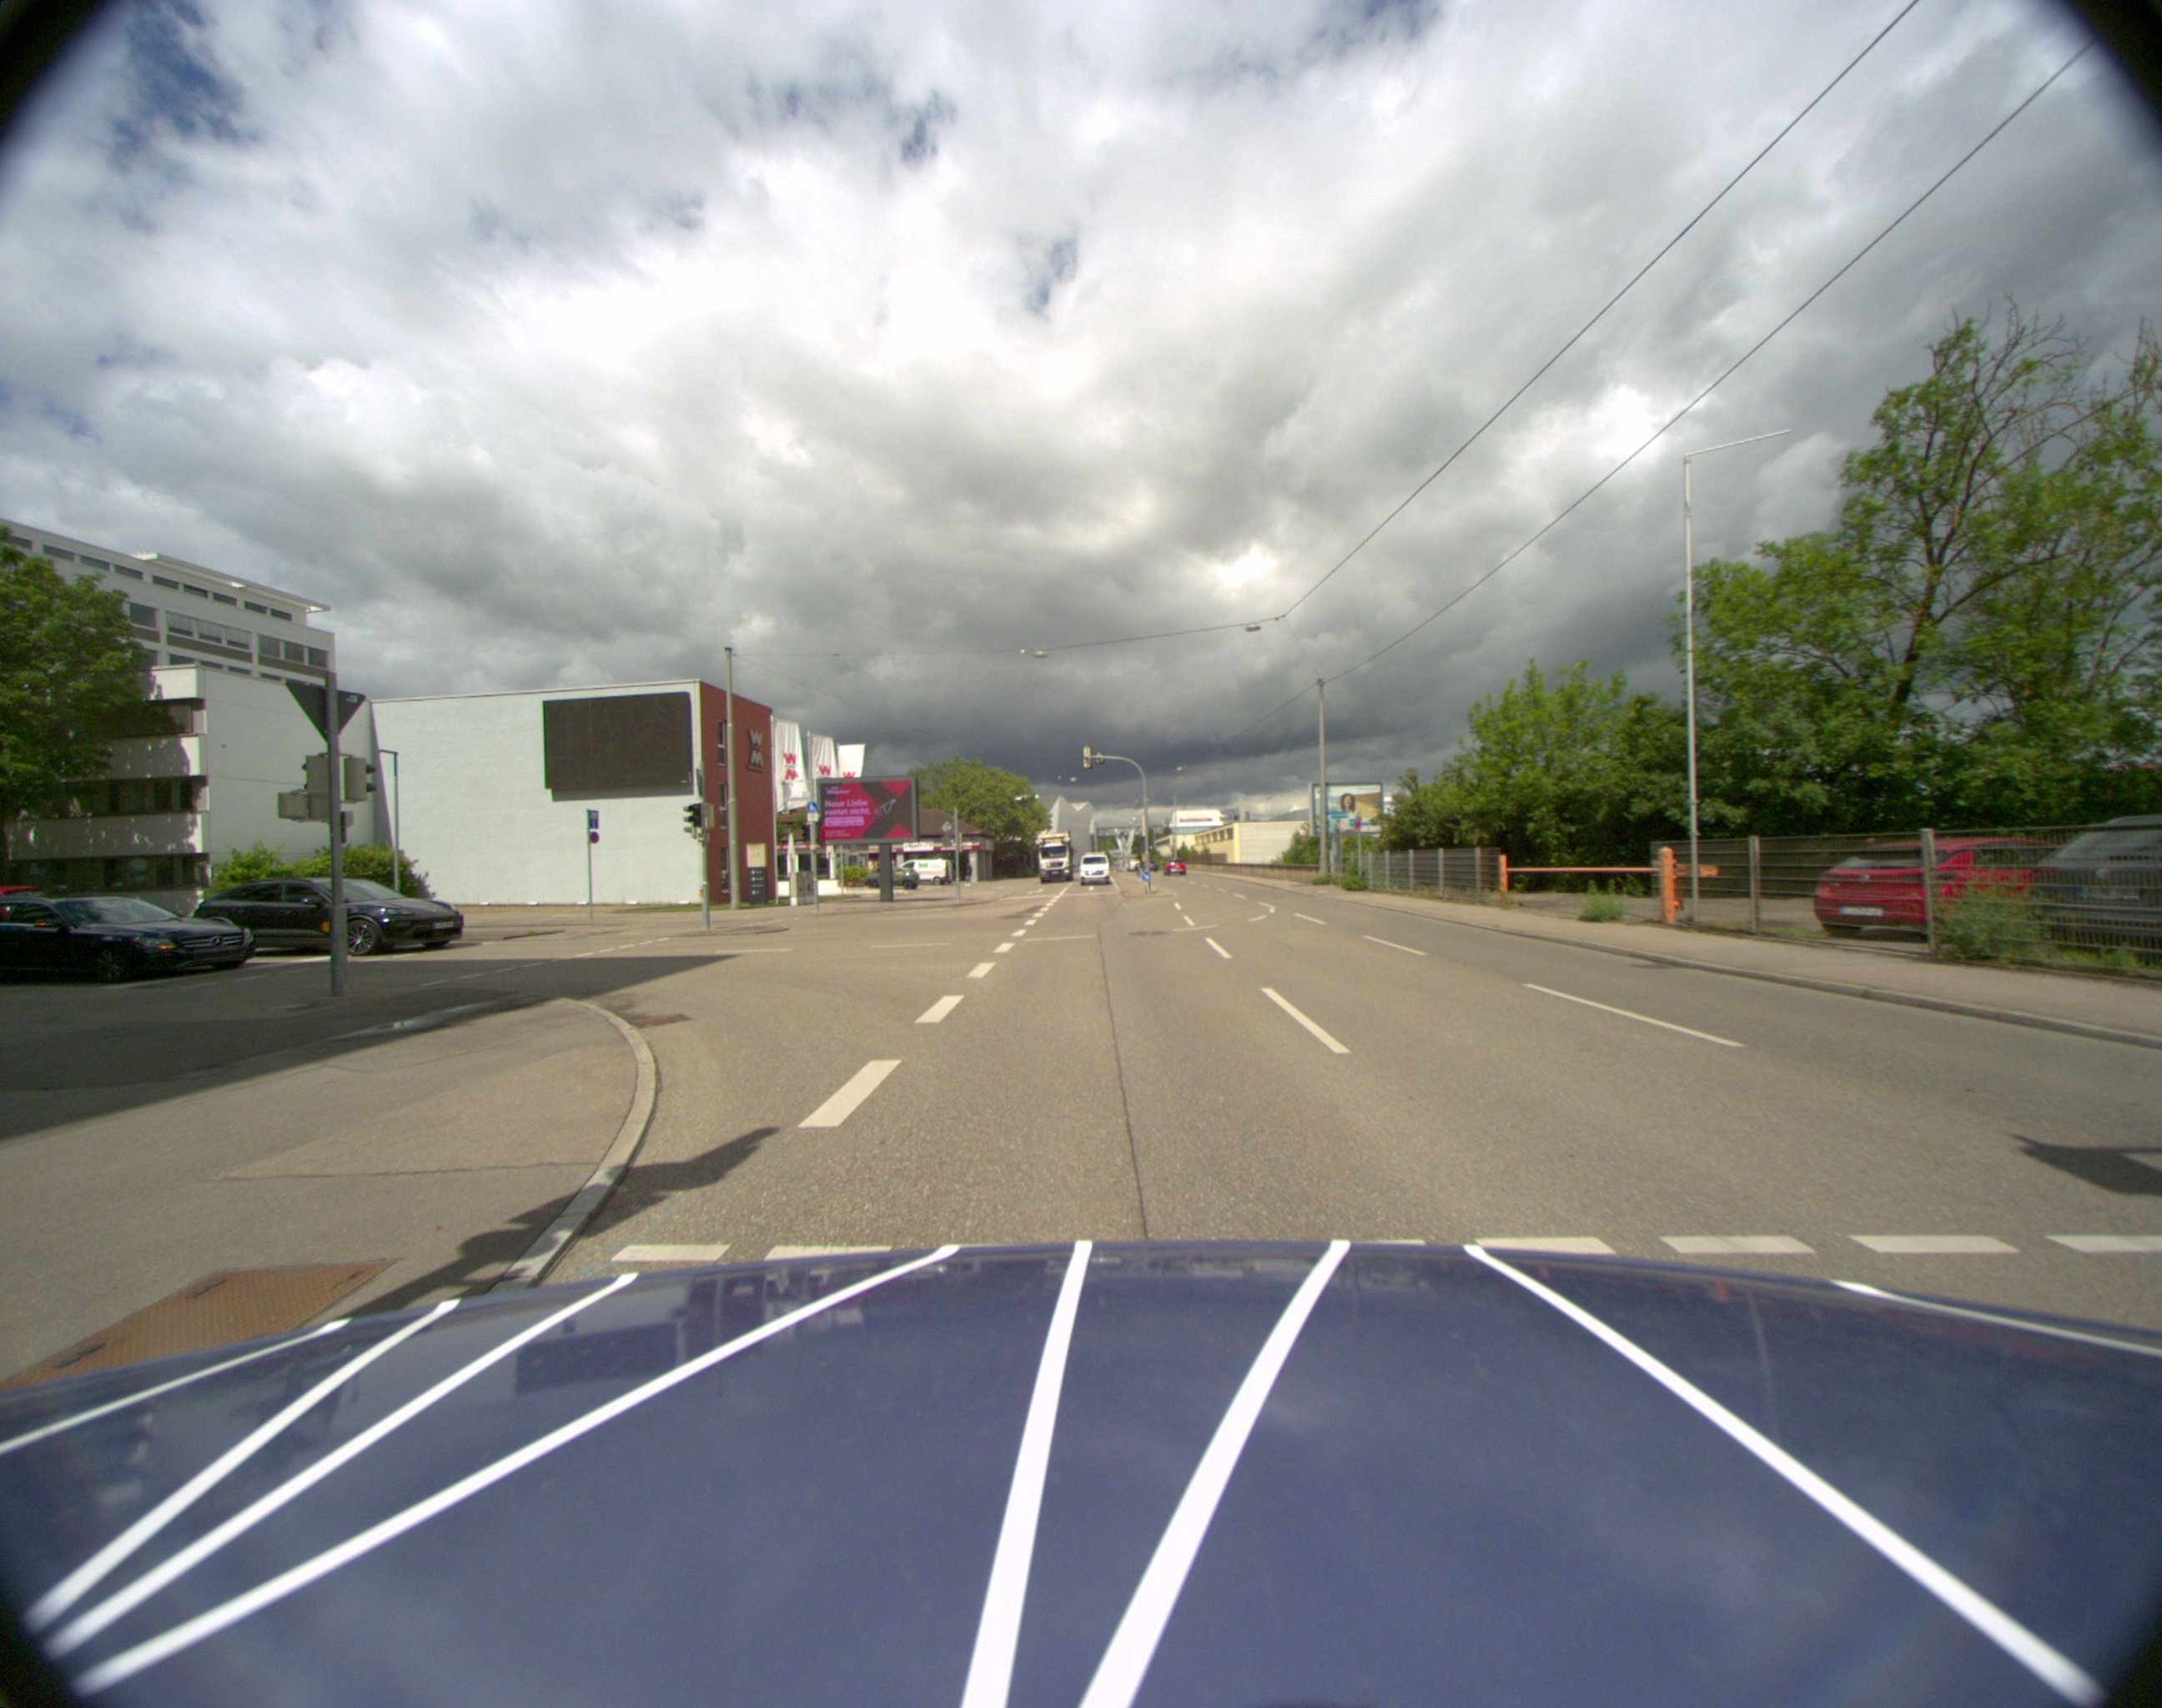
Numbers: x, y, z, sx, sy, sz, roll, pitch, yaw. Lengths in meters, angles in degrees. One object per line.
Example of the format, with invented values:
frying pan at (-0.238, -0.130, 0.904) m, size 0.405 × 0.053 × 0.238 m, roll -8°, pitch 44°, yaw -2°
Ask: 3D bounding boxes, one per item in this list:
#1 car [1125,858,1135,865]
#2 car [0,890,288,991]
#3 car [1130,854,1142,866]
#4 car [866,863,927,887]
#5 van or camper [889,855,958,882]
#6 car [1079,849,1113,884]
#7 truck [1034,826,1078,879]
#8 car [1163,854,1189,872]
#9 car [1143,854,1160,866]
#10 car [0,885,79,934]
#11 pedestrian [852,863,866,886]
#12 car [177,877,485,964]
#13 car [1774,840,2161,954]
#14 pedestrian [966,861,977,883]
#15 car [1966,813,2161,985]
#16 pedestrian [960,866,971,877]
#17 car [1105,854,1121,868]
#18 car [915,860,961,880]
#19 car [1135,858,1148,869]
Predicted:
car at (10.345, 1.583, 160.355) m, size 1.612 × 1.404 × 3.799 m, roll -2°, pitch 0°, yaw -1°
car at (-17.364, 1.485, 13.461) m, size 4.535 × 1.483 × 2.000 m, roll -1°, pitch 1°, yaw 1°
car at (10.454, 1.133, 144.665) m, size 1.896 × 2.002 × 5.651 m, roll -2°, pitch 0°, yaw 1°
car at (-12.548, 1.420, 51.759) m, size 3.675 × 1.477 × 1.762 m, roll 2°, pitch 1°, yaw 3°
van or camper at (-12.402, 1.142, 59.898) m, size 4.909 × 1.946 × 2.212 m, roll 1°, pitch 1°, yaw 2°
car at (0.987, 0.770, 48.191) m, size 1.935 × 2.078 × 4.209 m, roll -1°, pitch 0°, yaw 4°
truck at (-1.887, -0.133, 61.969) m, size 2.836 × 3.889 × 10.366 m, roll -1°, pitch 0°, yaw 2°
car at (8.779, 0.823, 70.605) m, size 1.935 × 1.590 × 4.153 m, roll 0°, pitch 0°, yaw 1°
car at (9.415, 0.804, 101.861) m, size 1.860 × 1.608 × 4.001 m, roll -2°, pitch 0°, yaw 1°
car at (-35.645, 1.821, 24.646) m, size 3.679 × 1.453 × 1.745 m, roll -1°, pitch 0°, yaw -4°
pedestrian at (-16.506, 1.532, 56.558) m, size 0.749 × 1.697 × 0.571 m, roll -1°, pitch 0°, yaw 28°
car at (-16.031, 1.380, 16.451) m, size 4.651 × 1.609 × 2.000 m, roll -1°, pitch 0°, yaw 0°
car at (12.811, 0.560, 11.112) m, size 3.864 × 1.410 × 1.901 m, roll -1°, pitch 0°, yaw -8°
pedestrian at (-8.317, 1.362, 57.816) m, size 0.714 × 1.697 × 0.739 m, roll 0°, pitch 1°, yaw 2°
car at (12.838, 0.414, 8.332) m, size 4.114 × 1.724 × 1.999 m, roll -1°, pitch 0°, yaw -4°
pedestrian at (-13.957, 2.099, 92.151) m, size 0.884 × 1.241 × 0.967 m, roll -2°, pitch 0°, yaw 30°
car at (4.092, 0.868, 98.309) m, size 1.870 × 1.781 × 4.208 m, roll -1°, pitch 0°, yaw 0°
car at (-11.801, 1.311, 62.934) m, size 3.460 × 1.477 × 1.835 m, roll 2°, pitch 1°, yaw -1°
car at (9.754, 1.550, 122.115) m, size 1.860 × 1.608 × 4.001 m, roll -2°, pitch 0°, yaw 1°
